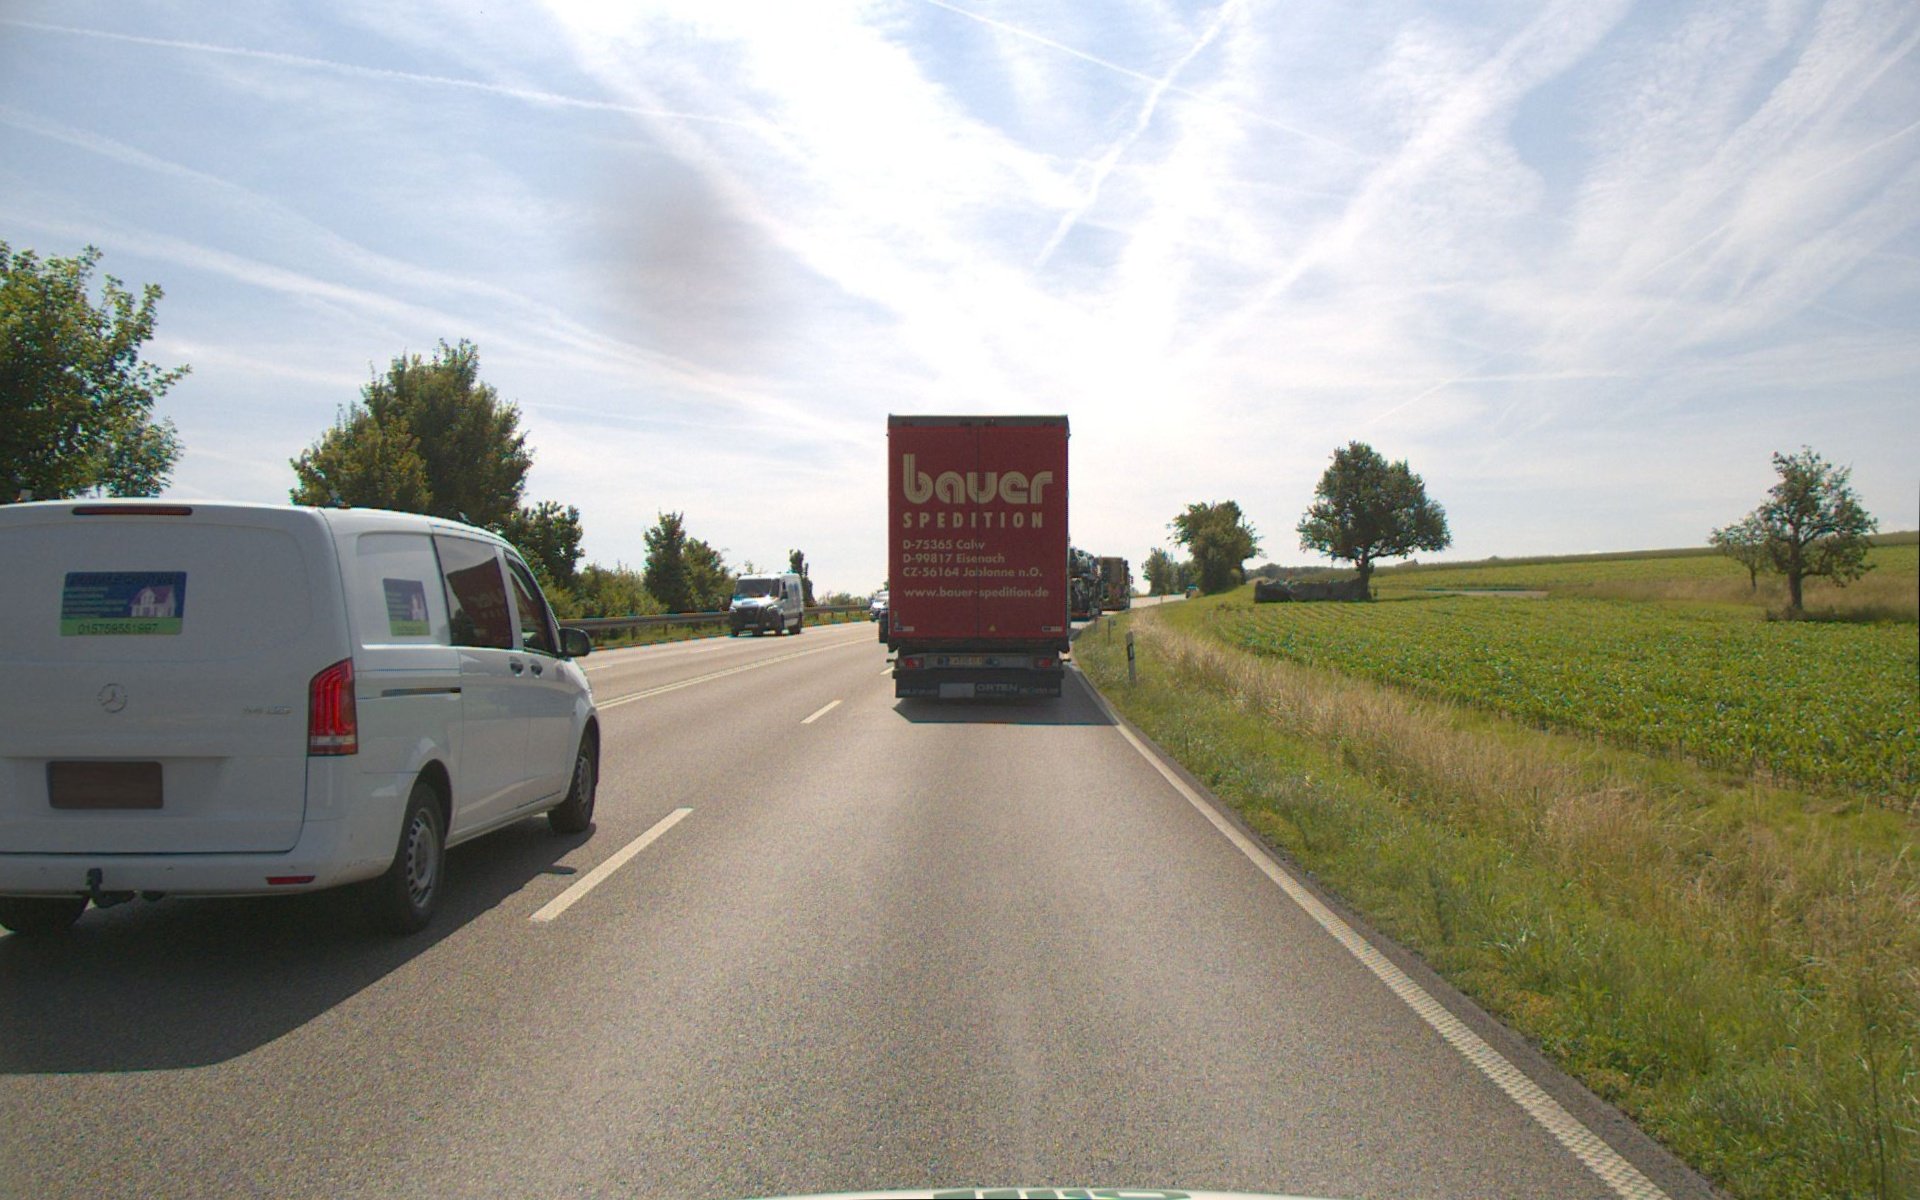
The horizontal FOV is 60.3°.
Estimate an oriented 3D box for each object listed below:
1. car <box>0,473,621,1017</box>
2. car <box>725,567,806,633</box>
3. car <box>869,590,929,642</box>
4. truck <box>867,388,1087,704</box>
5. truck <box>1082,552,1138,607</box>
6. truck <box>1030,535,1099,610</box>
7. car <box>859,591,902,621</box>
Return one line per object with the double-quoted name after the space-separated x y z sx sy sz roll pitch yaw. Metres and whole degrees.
-3.238 0.505 8.560 1.866 1.917 5.431 0 0 0 "car"
-7.505 -0.011 64.347 2.044 2.436 5.847 0 0 4 "car"
-1.928 0.495 53.245 1.491 1.609 4.002 1 0 4 "car"
0.375 -0.782 30.652 2.945 4.253 16.716 0 0 1 "truck"
11.924 -1.602 130.062 2.982 3.978 18.414 -1 0 9 "truck"
6.286 -1.530 96.689 2.982 3.978 15.628 -1 0 7 "truck"
-4.423 0.329 92.943 1.774 1.596 4.687 1 1 5 "car"
